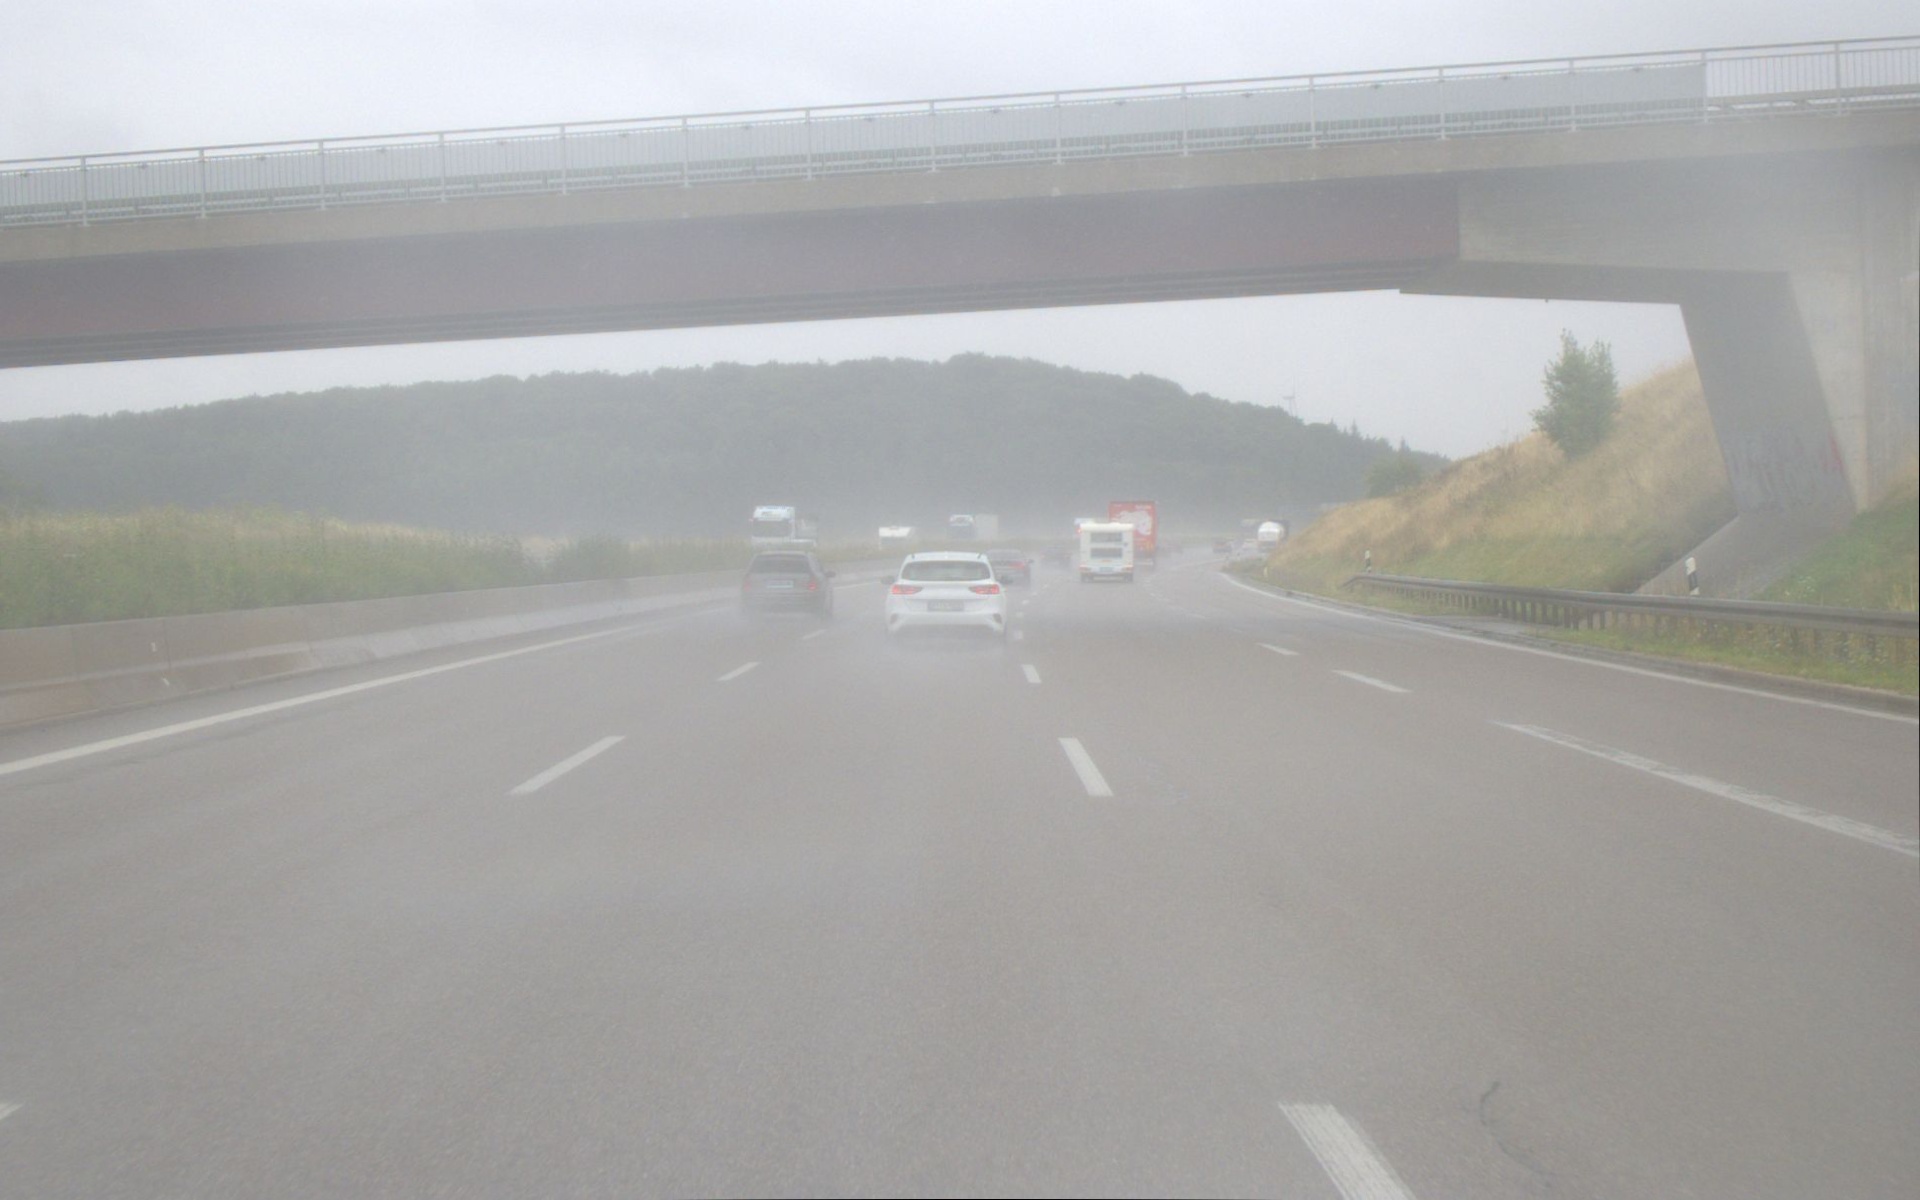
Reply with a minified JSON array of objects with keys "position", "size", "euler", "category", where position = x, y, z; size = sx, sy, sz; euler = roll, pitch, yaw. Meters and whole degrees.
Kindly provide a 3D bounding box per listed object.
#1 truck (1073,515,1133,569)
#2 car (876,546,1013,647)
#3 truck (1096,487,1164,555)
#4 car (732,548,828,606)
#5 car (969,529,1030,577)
[{"position":[6.059,-2.445,144.895],"size":[2.408,2.244,4.692],"euler":[0,1,4],"category":"truck"},{"position":[-0.278,-0.062,51.585],"size":[1.867,1.458,4.000],"euler":[0,0,-3],"category":"car"},{"position":[9.604,-4.538,195.297],"size":[3.527,3.730,11.426],"euler":[1,2,1],"category":"truck"},{"position":[-3.681,-0.456,70.936],"size":[1.823,1.152,4.213],"euler":[1,0,-1],"category":"car"},{"position":[1.383,-1.617,118.404],"size":[1.993,1.612,4.000],"euler":[0,1,2],"category":"car"}]
